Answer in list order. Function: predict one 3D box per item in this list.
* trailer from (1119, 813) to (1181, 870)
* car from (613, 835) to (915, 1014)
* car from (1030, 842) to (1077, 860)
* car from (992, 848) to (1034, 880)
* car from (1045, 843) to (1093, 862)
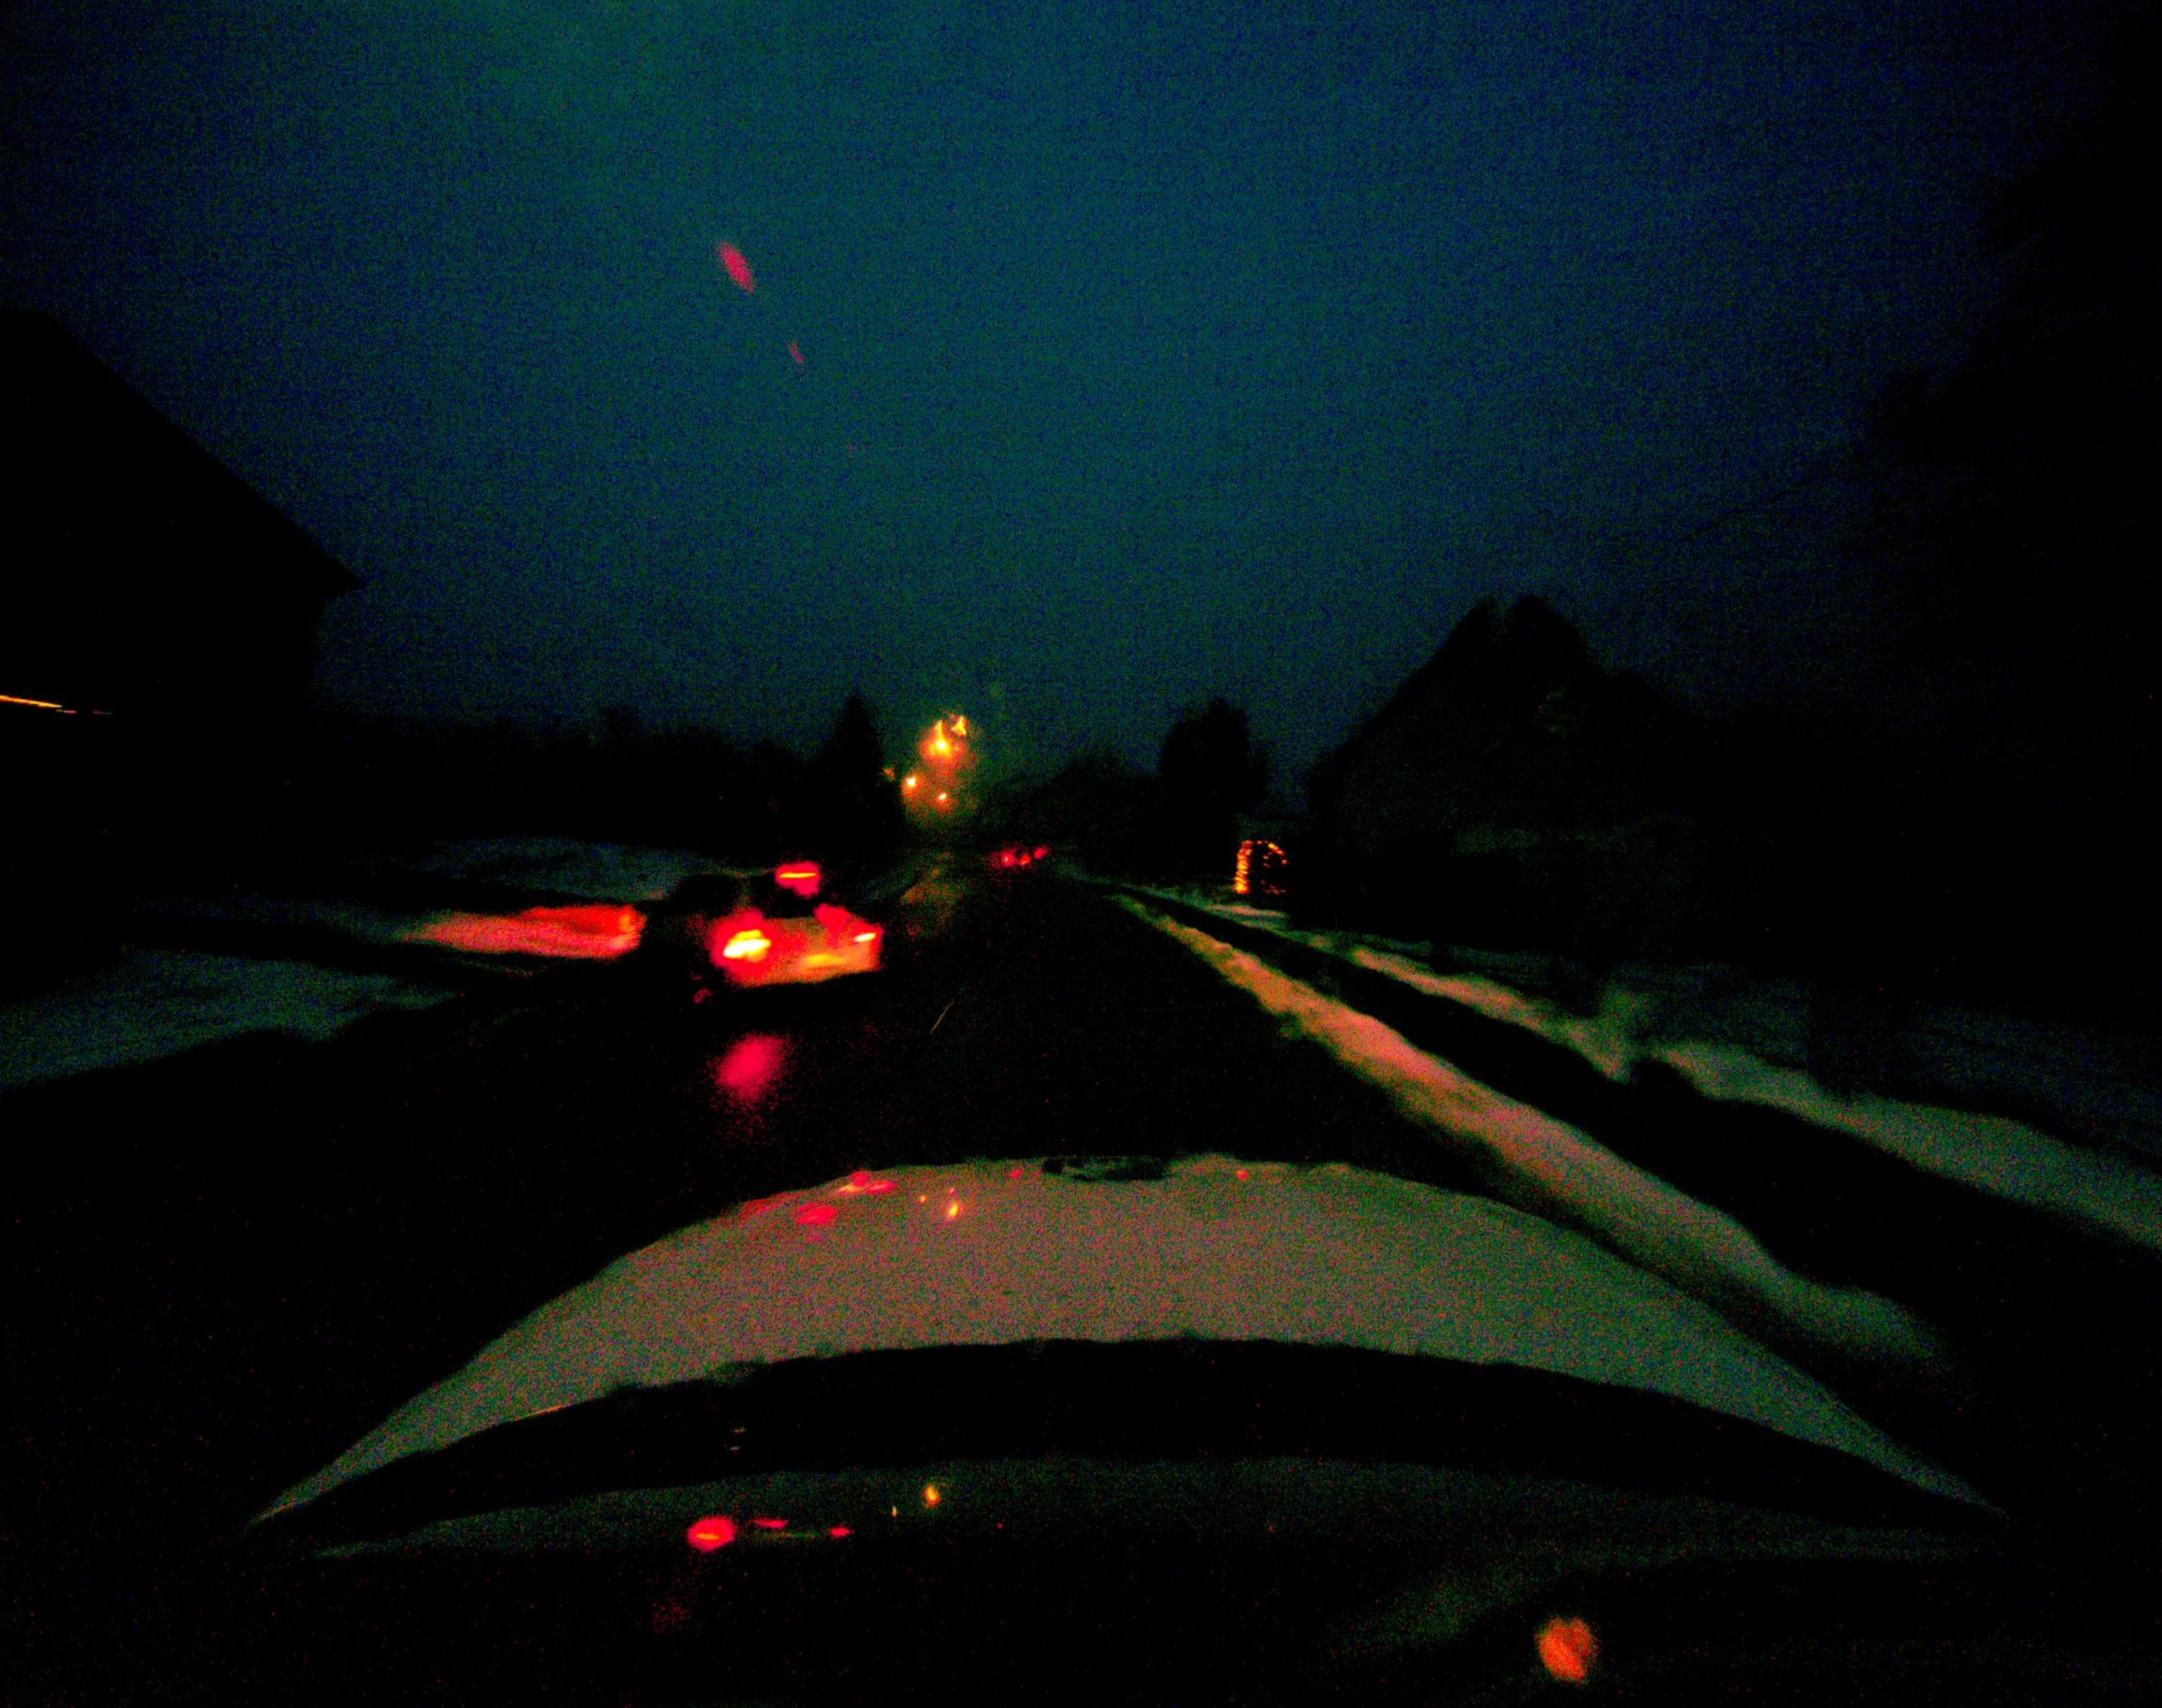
[{"bbox_3d":[4.510,-0.760,54.419,2.876,3.560,5.044,1,0,-11],"label":"trailer"},{"bbox_3d":[-3.891,0.635,9.637,1.914,1.609,3.951,1,1,-44],"label":"car"},{"bbox_3d":[-2.531,-0.293,74.551,4.153,1.559,1.941,-1,-2,-7],"label":"car"},{"bbox_3d":[-3.935,0.621,46.472,1.994,1.737,3.864,0,-2,-10],"label":"car"},{"bbox_3d":[-1.054,-0.151,71.756,4.230,1.559,1.999,-1,-2,-1],"label":"car"}]
